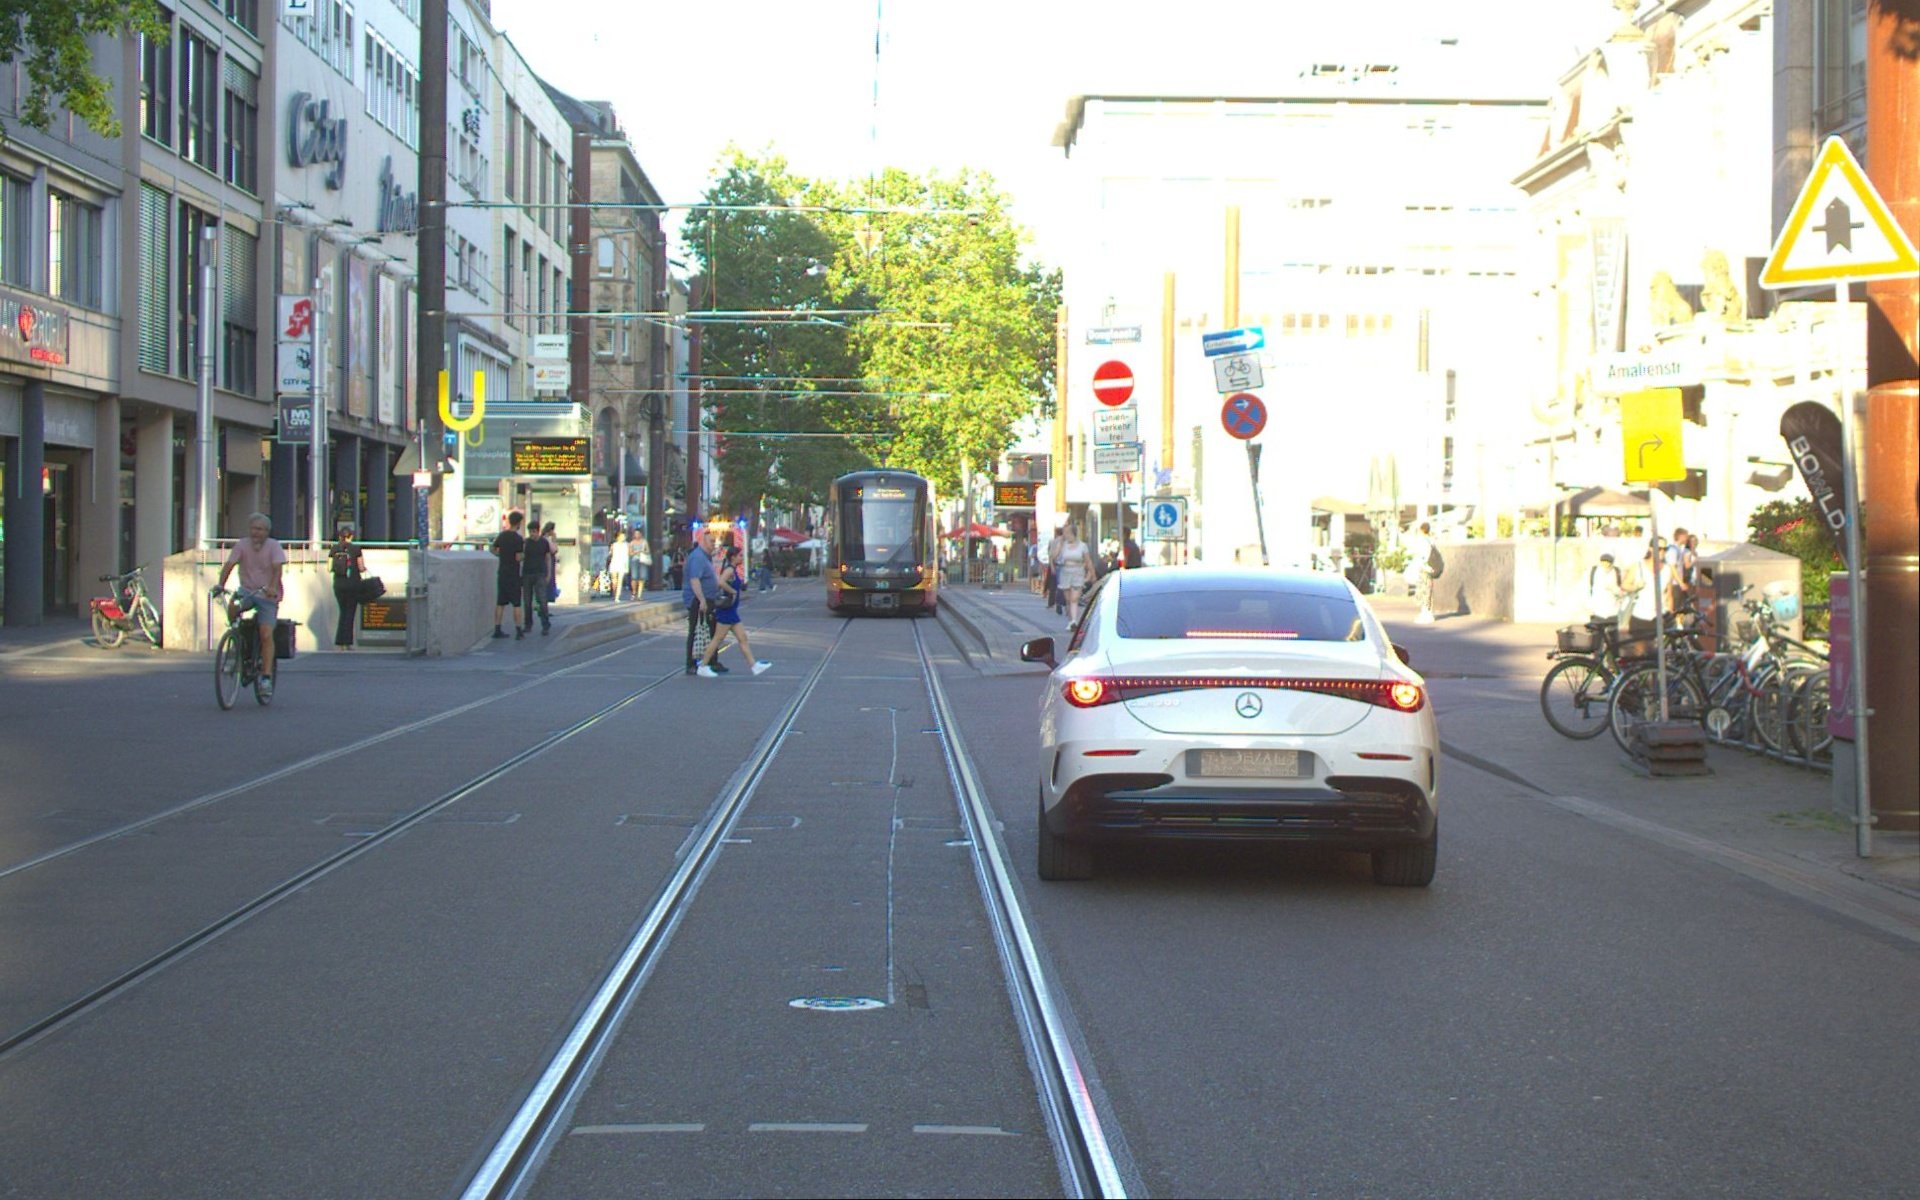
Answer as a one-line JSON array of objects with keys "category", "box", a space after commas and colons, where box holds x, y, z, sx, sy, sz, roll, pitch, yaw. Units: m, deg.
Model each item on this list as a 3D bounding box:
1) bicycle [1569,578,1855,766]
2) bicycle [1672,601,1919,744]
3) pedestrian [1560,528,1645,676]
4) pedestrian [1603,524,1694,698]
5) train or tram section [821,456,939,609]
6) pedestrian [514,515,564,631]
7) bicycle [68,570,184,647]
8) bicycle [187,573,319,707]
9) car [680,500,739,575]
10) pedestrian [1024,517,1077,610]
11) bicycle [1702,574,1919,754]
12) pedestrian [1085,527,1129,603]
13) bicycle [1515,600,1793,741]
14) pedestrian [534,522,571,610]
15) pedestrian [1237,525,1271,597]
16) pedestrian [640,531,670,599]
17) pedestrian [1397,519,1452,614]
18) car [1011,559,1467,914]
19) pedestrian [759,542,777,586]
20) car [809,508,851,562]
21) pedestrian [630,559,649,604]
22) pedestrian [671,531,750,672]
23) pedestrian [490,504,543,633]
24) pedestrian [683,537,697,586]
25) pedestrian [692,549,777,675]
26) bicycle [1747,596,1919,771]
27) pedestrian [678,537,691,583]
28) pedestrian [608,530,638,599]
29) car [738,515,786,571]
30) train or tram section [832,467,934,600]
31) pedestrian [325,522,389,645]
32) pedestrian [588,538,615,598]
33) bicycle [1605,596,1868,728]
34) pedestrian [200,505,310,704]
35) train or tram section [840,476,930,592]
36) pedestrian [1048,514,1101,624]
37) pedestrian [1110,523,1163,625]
[{"category": "bicycle", "box": [5.399, 0.502, 24.701, 1.907, 1.277, 0.610, -1, 1, -12]}, {"category": "bicycle", "box": [6.710, 0.559, 27.033, 2.113, 1.092, 0.610, 0, 1, -13]}, {"category": "pedestrian", "box": [7.861, 0.020, 42.092, 0.840, 1.779, 0.804, -1, 1, -1]}, {"category": "pedestrian", "box": [7.158, 0.109, 35.769, 0.748, 1.779, 0.767, -1, 1, -1]}, {"category": "train or tram section", "box": [-1.947, -1.657, 85.163, 2.694, 3.504, 12.546, 0, 1, -1]}, {"category": "pedestrian", "box": [-6.419, -0.410, 52.395, 0.550, 1.754, 0.520, 1, 1, 27]}, {"category": "bicycle", "box": [-11.491, 0.107, 47.407, 0.719, 1.006, 2.038, 1, 1, 13]}, {"category": "bicycle", "box": [-6.494, 0.348, 31.678, 0.800, 1.138, 2.257, 2, 1, -2]}, {"category": "car", "box": [-9.855, -2.479, 135.545, 1.993, 2.887, 5.275, 0, 1, -1]}, {"category": "pedestrian", "box": [1.747, -0.714, 66.602, 0.960, 1.779, 0.804, -1, 1, -1]}, {"category": "bicycle", "box": [6.561, 0.464, 25.618, 1.907, 1.277, 0.610, -1, 1, -12]}, {"category": "pedestrian", "box": [3.498, -0.831, 81.747, 0.960, 1.779, 0.804, -1, 1, -1]}, {"category": "bicycle", "box": [5.585, 0.565, 27.689, 2.113, 1.092, 0.610, 1, 0, -12]}, {"category": "pedestrian", "box": [-7.208, -0.609, 60.802, 0.615, 1.539, 0.651, 0, 1, -3]}, {"category": "pedestrian", "box": [7.253, -0.962, 84.765, 0.727, 1.779, 0.707, 1, 1, -1]}, {"category": "pedestrian", "box": [-7.151, -0.827, 80.607, 0.660, 1.593, 0.573, 0, 1, -2]}, {"category": "pedestrian", "box": [8.307, -0.607, 61.486, 0.817, 1.679, 0.804, -1, 1, -1]}, {"category": "car", "box": [1.228, 0.562, 16.845, 1.857, 1.450, 4.175, 2, 1, 0]}, {"category": "pedestrian", "box": [-7.141, -1.334, 127.876, 0.604, 1.624, 0.531, 0, 1, 0]}, {"category": "car", "box": [-7.029, -3.508, 186.403, 2.099, 2.887, 5.275, 0, 1, -1]}, {"category": "pedestrian", "box": [-11.694, -0.688, 125.331, 0.604, 1.624, 0.415, 0, 1, -16]}, {"category": "pedestrian", "box": [-3.045, 0.010, 42.045, 0.905, 1.692, 0.849, 0, 1, 0]}, {"category": "pedestrian", "box": [-6.640, -0.471, 51.469, 0.540, 1.922, 0.571, 1, 1, 43]}, {"category": "pedestrian", "box": [-8.905, -1.264, 113.575, 0.414, 1.624, 0.606, 0, 1, -1]}, {"category": "pedestrian", "box": [-2.708, 0.137, 41.363, 0.955, 1.491, 0.944, 0, 1, 0]}, {"category": "bicycle", "box": [6.498, 0.563, 23.881, 1.907, 1.152, 0.610, -1, 1, -12]}, {"category": "pedestrian", "box": [-9.617, -1.400, 119.866, 0.414, 1.624, 0.606, 0, 1, -1]}, {"category": "pedestrian", "box": [-7.884, -0.837, 80.522, 0.660, 1.593, 0.573, 0, 1, -2]}, {"category": "car", "box": [-8.869, -2.579, 154.344, 1.910, 2.452, 5.275, 0, 1, -1]}, {"category": "train or tram section", "box": [-2.161, -1.880, 97.713, 2.694, 3.504, 12.546, 0, 1, -1]}, {"category": "pedestrian", "box": [-8.457, -0.233, 48.257, 0.782, 1.711, 0.840, 0, 1, -3]}, {"category": "pedestrian", "box": [-9.465, -0.849, 90.837, 0.660, 1.593, 0.573, 0, 1, -2]}, {"category": "bicycle", "box": [6.600, 0.520, 29.230, 2.113, 1.092, 0.610, 0, 1, -12]}, {"category": "pedestrian", "box": [-6.479, 0.035, 31.625, 0.800, 1.776, 0.849, 2, 1, -2]}, {"category": "train or tram section", "box": [-2.369, -2.085, 109.552, 2.694, 3.504, 11.144, 0, 1, -1]}, {"category": "pedestrian", "box": [1.782, -0.488, 53.506, 0.746, 1.692, 0.840, 0, 1, -3]}, {"category": "pedestrian", "box": [2.883, -0.425, 56.227, 0.838, 1.656, 0.785, 0, 1, 1]}]
